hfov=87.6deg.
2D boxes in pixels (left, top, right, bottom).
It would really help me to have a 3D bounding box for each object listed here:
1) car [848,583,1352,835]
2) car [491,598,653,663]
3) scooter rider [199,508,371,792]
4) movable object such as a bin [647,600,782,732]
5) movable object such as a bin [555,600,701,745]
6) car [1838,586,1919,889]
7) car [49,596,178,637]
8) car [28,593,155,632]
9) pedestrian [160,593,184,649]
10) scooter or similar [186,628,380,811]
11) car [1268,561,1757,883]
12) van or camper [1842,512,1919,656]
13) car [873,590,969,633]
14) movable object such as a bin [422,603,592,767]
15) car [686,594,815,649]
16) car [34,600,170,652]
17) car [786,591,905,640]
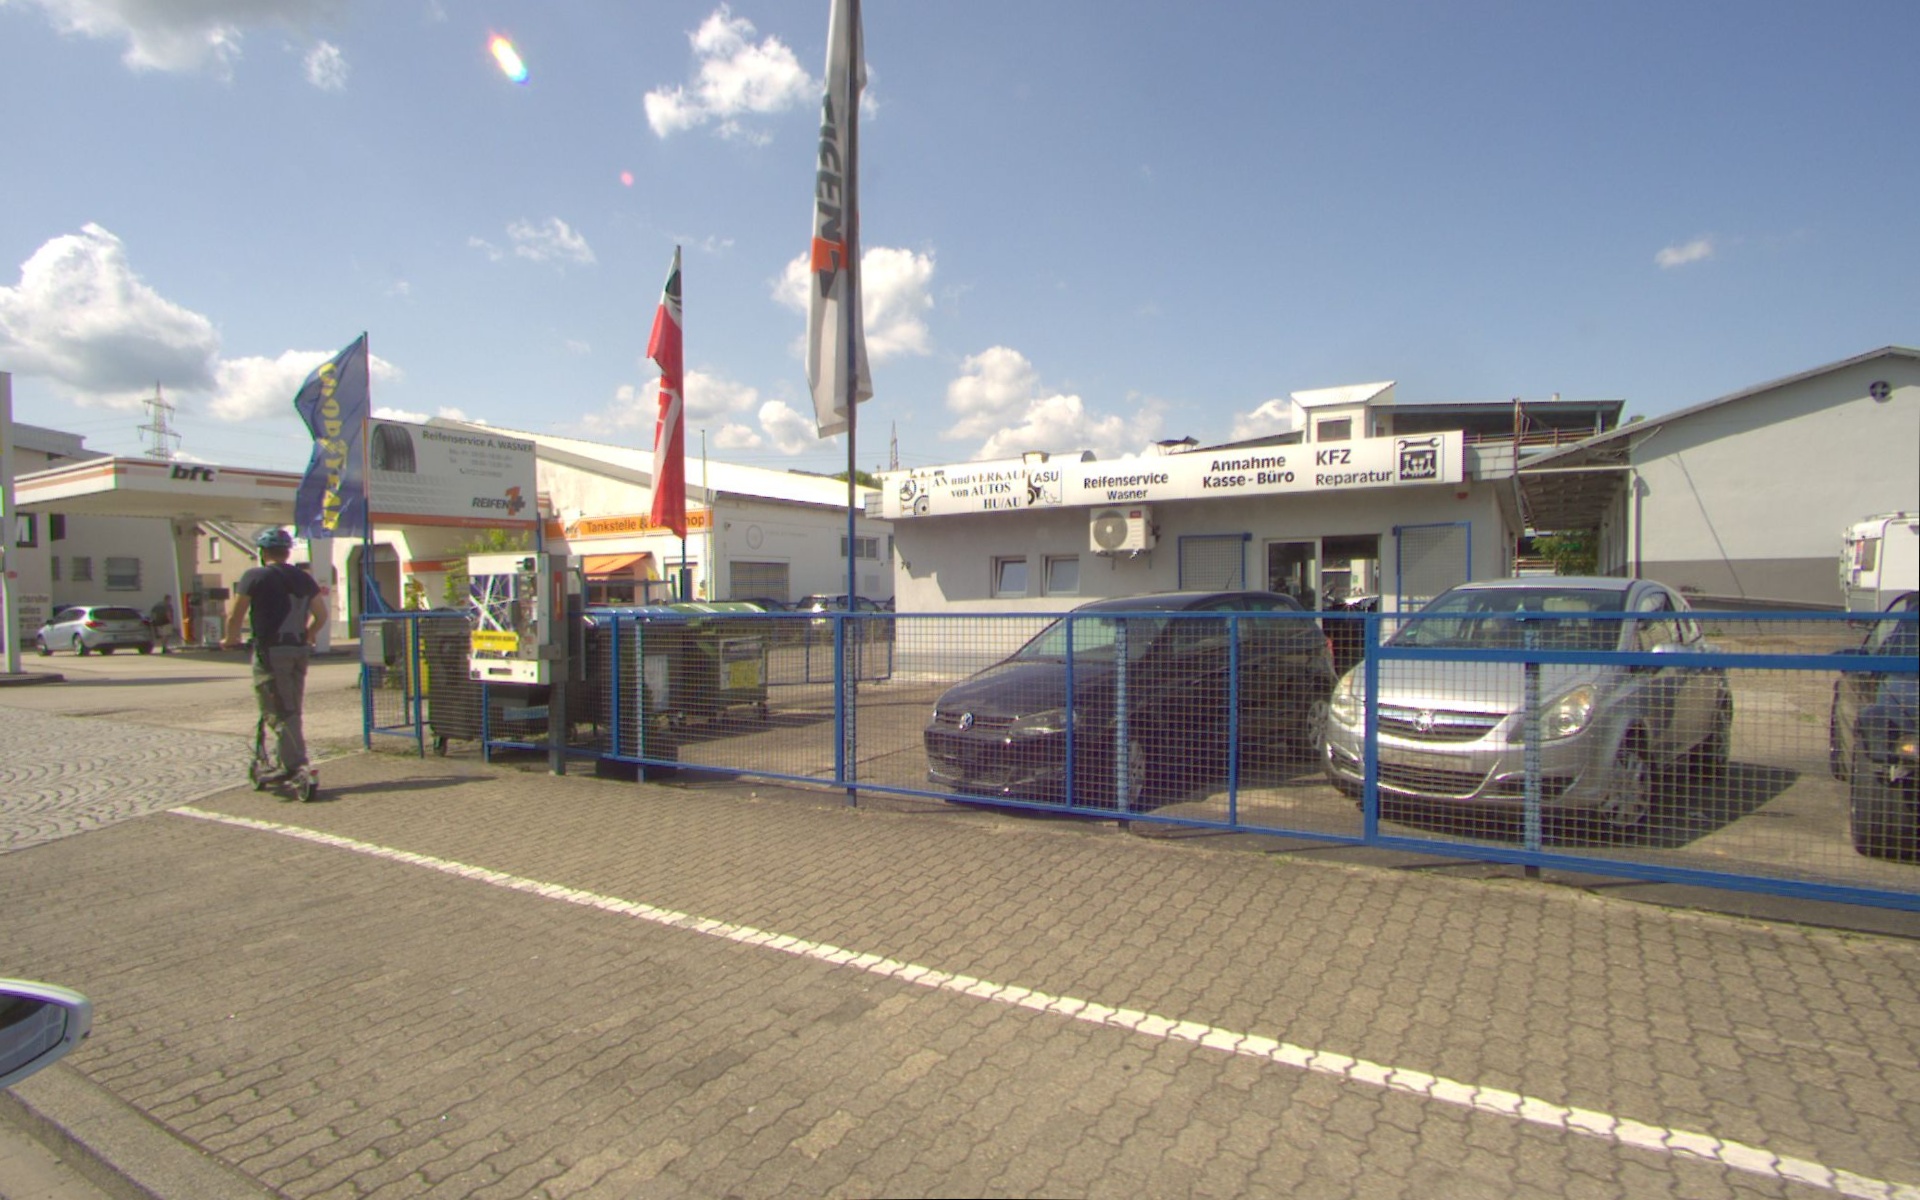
[{"bbox_3d":[1.252,0.618,7.765,3.956,1.462,1.696,-1,0,-41],"label":"car"},{"bbox_3d":[-9.200,0.687,23.966,1.589,1.379,3.312,-1,1,32],"label":"car"},{"bbox_3d":[-5.051,0.345,7.511,0.774,1.990,0.715,0,3,32],"label":"scooter rider"},{"bbox_3d":[-2.938,0.757,12.104,0.939,1.463,1.320,-1,1,25],"label":"movable object such as a bin"},{"bbox_3d":[-3.614,0.746,10.963,0.812,1.464,1.253,-1,1,32],"label":"movable object such as a bin"},{"bbox_3d":[6.181,0.603,5.607,1.799,1.374,3.968,-1,0,40],"label":"car"},{"bbox_3d":[-37.612,0.707,44.586,1.937,1.671,3.979,-1,1,31],"label":"car"},{"bbox_3d":[-39.738,0.542,45.921,1.937,1.671,3.979,-1,1,31],"label":"car"},{"bbox_3d":[-24.228,0.634,30.789,0.478,1.712,0.395,0,2,33],"label":"pedestrian"},{"bbox_3d":[-5.022,0.826,7.403,1.588,1.211,0.539,-1,2,32],"label":"scooter or similar"},{"bbox_3d":[3.874,0.559,6.704,3.959,1.516,1.734,-1,0,-43],"label":"car"},{"bbox_3d":[20.902,-0.357,19.649,4.986,2.810,2.304,-1,1,29],"label":"van or camper"},{"bbox_3d":[-1.347,0.378,36.017,1.589,1.406,3.652,-1,1,33],"label":"car"},{"bbox_3d":[-4.429,0.785,9.854,0.812,1.464,1.253,-1,1,32],"label":"movable object such as a bin"},{"bbox_3d":[-5.859,0.569,28.287,1.589,1.379,3.488,-1,1,32],"label":"car"},{"bbox_3d":[-26.362,0.787,30.743,3.941,1.439,1.956,-1,1,30],"label":"car"},{"bbox_3d":[-3.598,0.468,32.203,1.589,1.406,3.998,-1,1,33],"label":"car"}]
